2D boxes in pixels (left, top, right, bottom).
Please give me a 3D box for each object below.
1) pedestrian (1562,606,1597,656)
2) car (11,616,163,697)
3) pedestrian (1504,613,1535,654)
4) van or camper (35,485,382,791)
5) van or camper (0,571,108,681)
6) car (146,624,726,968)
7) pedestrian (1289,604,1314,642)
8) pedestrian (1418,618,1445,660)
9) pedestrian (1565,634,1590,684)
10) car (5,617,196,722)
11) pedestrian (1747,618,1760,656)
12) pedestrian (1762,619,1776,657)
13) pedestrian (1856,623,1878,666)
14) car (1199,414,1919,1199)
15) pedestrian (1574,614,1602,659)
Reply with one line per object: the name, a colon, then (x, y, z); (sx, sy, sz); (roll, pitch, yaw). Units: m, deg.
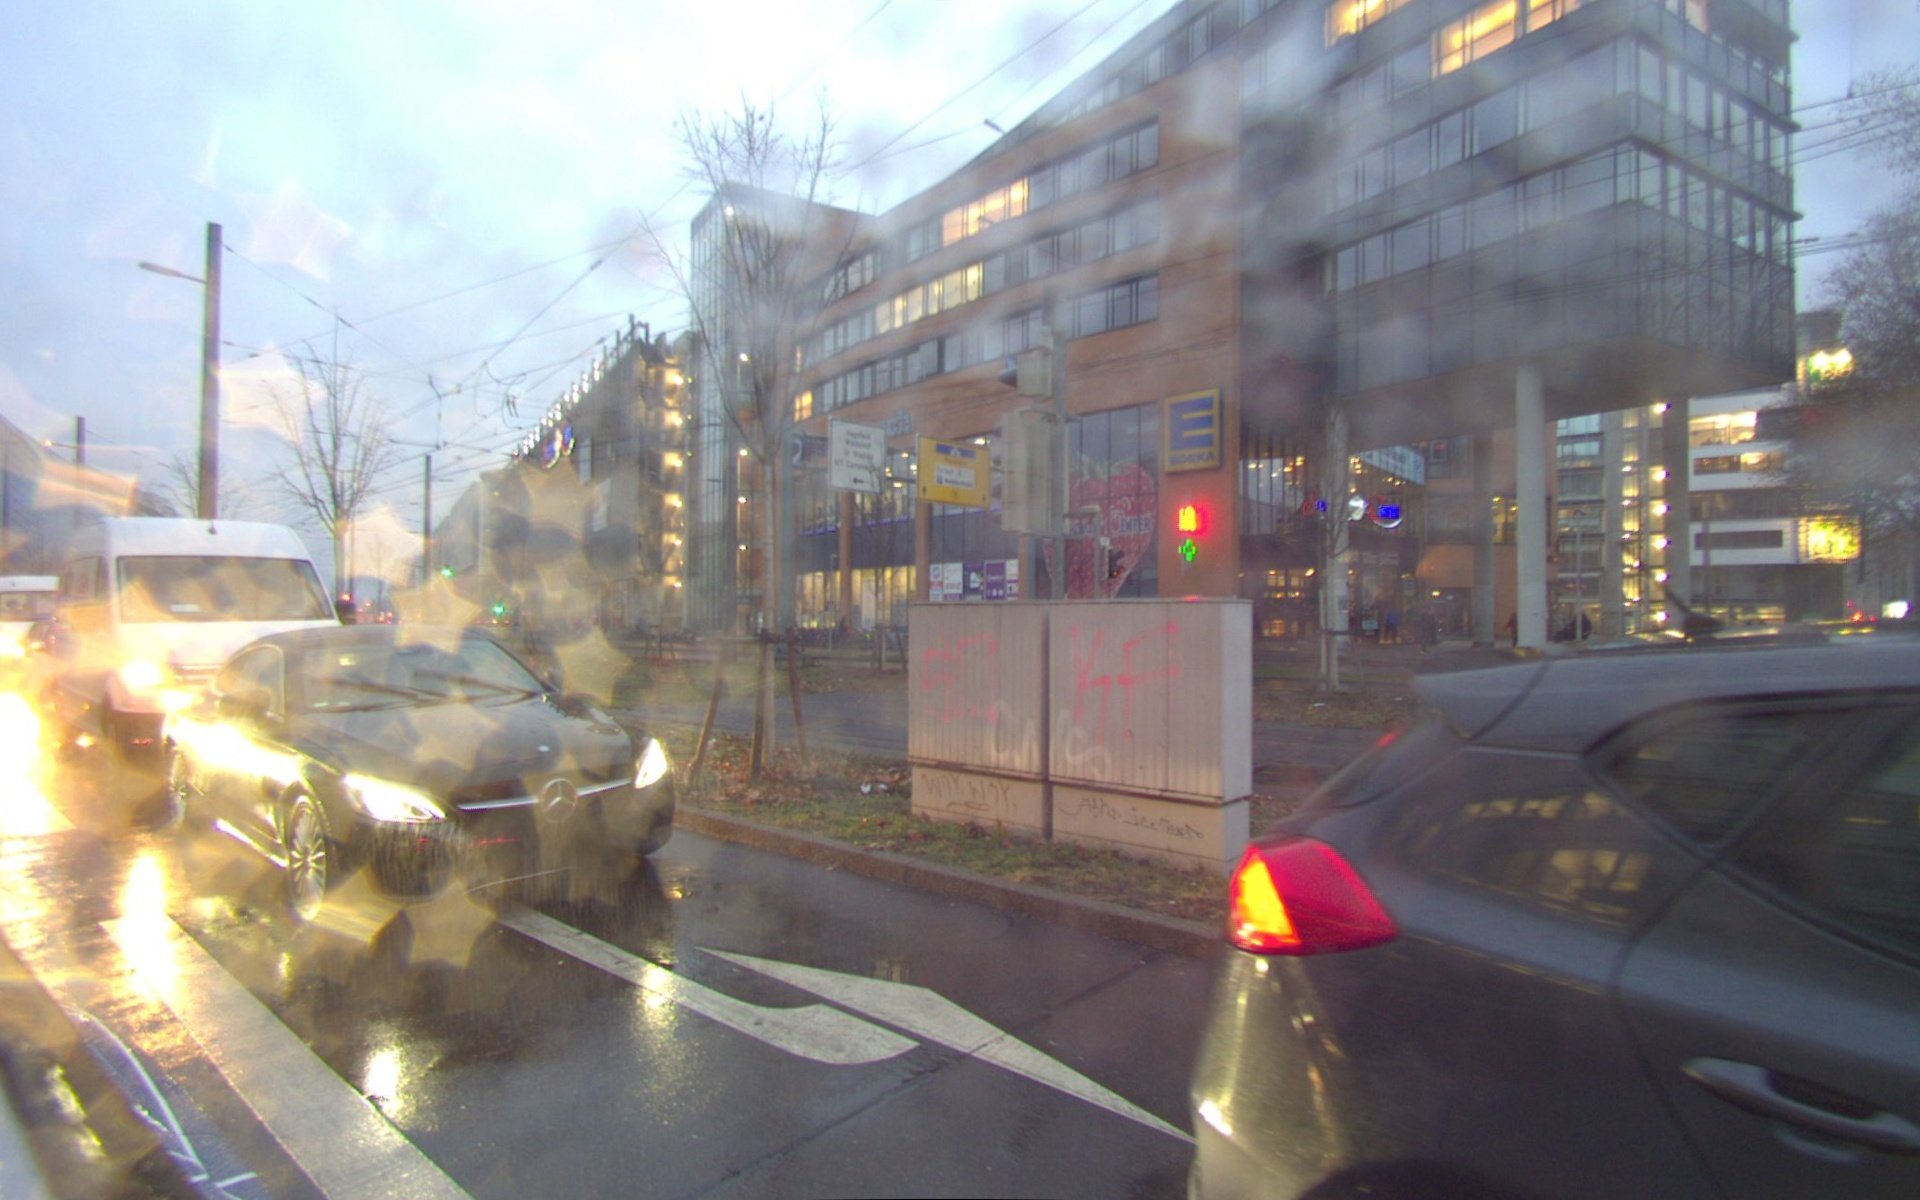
pedestrian: (23.496, 1.187, 38.383); (0.763, 1.860, 0.924); (2, -2, -40)
car: (-17.339, 1.048, 20.040); (3.951, 1.409, 1.800); (-1, 0, 42)
pedestrian: (23.780, 1.426, 43.033); (0.910, 1.721, 0.696); (1, -2, -20)
van or camper: (-8.563, 0.332, 11.240); (5.885, 2.567, 2.034); (-1, 0, 43)
van or camper: (-22.267, 0.598, 24.433); (2.155, 2.370, 5.653); (-1, 0, -44)
car: (-3.429, 0.846, 6.203); (4.224, 1.342, 1.800); (-1, 0, 42)
pedestrian: (13.661, 0.929, 40.488); (0.642, 1.515, 0.695); (2, -2, -40)
pedestrian: (17.309, 1.438, 37.153); (0.642, 1.515, 0.695); (2, -2, -40)
pedestrian: (16.224, 1.534, 26.591); (0.495, 1.274, 0.440); (-1, 0, 37)
car: (-13.615, 1.005, 15.961); (3.951, 1.409, 1.800); (-1, 0, 42)
pedestrian: (37.097, 1.736, 47.316); (0.446, 1.764, 0.645); (-1, -2, 41)
pedestrian: (37.480, 1.761, 46.890); (0.446, 1.764, 0.645); (-1, -2, 41)
pedestrian: (36.094, 1.779, 40.268); (0.560, 1.696, 0.590); (-1, -2, 37)
car: (2.323, 0.596, 0.965); (3.760, 1.585, 1.662); (-1, -2, 42)
pedestrian: (24.158, 1.400, 38.943); (0.716, 1.721, 0.695); (2, -2, -40)
